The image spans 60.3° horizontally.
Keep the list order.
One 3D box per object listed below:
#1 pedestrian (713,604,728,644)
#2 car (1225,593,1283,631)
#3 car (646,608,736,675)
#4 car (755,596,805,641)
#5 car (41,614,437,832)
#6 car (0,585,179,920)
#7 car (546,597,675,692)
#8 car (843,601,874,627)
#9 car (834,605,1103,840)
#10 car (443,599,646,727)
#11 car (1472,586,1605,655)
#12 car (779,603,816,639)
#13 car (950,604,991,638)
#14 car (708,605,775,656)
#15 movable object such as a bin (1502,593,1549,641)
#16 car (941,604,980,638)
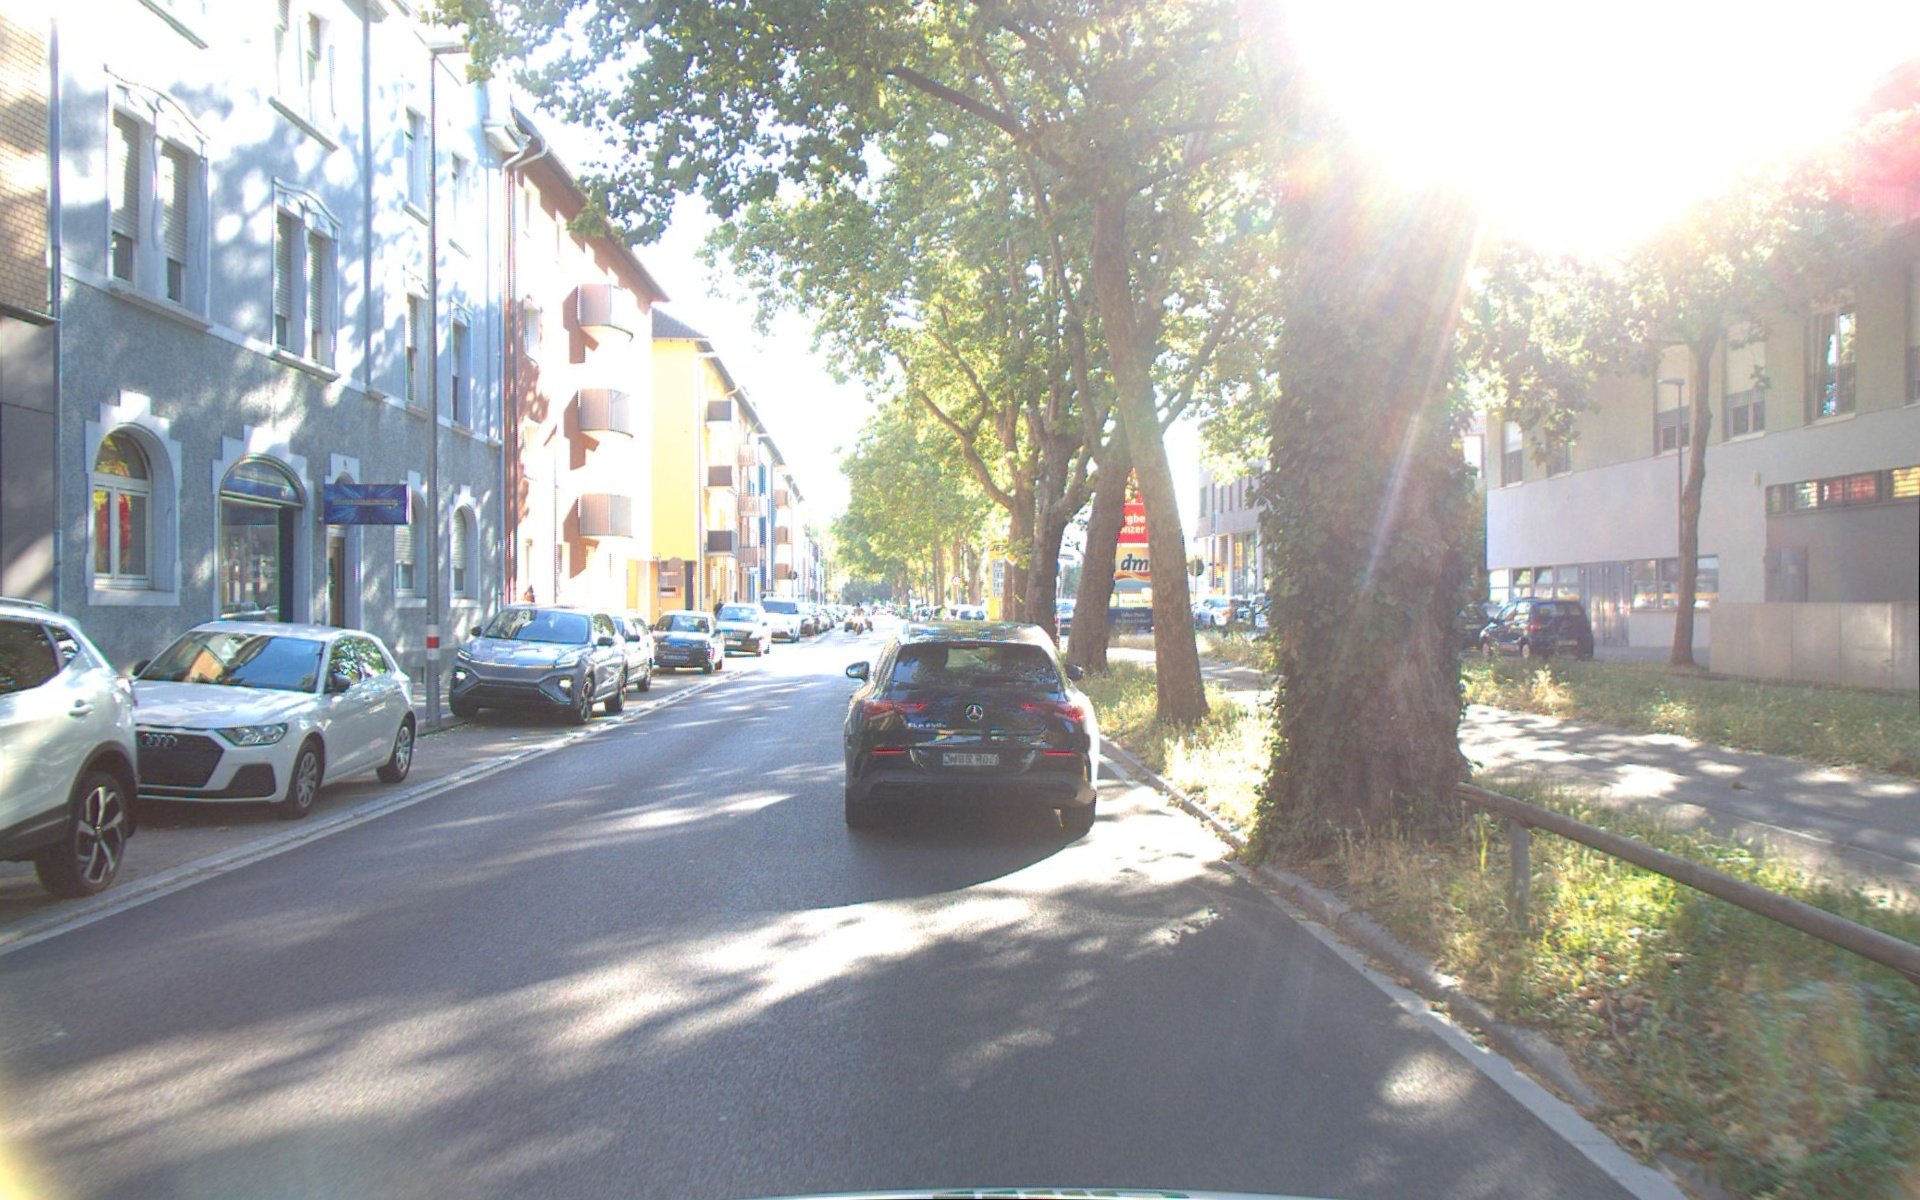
[{"bbox_3d":[-10.853,1.085,75.092,0.575,1.821,0.642,-1,0,-2],"label":"pedestrian"},{"bbox_3d":[14.410,0.582,81.266,1.946,1.764,4.179,-1,0,-2],"label":"car"},{"bbox_3d":[-6.507,0.971,40.319,1.644,1.512,3.600,1,0,-1],"label":"car"},{"bbox_3d":[-7.981,0.794,73.710,1.699,1.940,5.207,1,0,-1],"label":"car"},{"bbox_3d":[-5.821,0.904,13.894,1.643,1.522,3.871,1,0,-1],"label":"car"},{"bbox_3d":[-5.438,0.720,7.678,1.643,1.612,4.199,1,0,-1],"label":"car"},{"bbox_3d":[-6.612,0.809,31.699,1.643,1.670,3.984,1,0,-1],"label":"car"},{"bbox_3d":[-6.173,0.834,101.241,1.735,1.504,4.320,-1,0,-2],"label":"car"},{"bbox_3d":[0.163,0.794,12.646,1.708,1.469,3.970,1,0,3],"label":"car"},{"bbox_3d":[-5.993,0.849,24.420,1.869,1.670,4.576,1,0,-1],"label":"car"},{"bbox_3d":[14.095,0.478,40.497,1.821,1.580,3.758,-1,0,-2],"label":"car"},{"bbox_3d":[-8.490,1.070,86.672,1.711,1.819,4.545,1,0,-4],"label":"car"},{"bbox_3d":[0.468,0.997,78.160,1.603,1.493,4.018,-2,-1,-4],"label":"car"},{"bbox_3d":[-7.024,0.968,53.541,1.643,1.550,4.020,1,0,-1],"label":"car"},{"bbox_3d":[18.089,0.542,52.932,1.167,1.488,1.408,-1,0,9],"label":"movable object such as a bin"},{"bbox_3d":[-0.020,1.077,84.973,1.774,1.565,4.581,-3,-1,-2],"label":"car"}]
